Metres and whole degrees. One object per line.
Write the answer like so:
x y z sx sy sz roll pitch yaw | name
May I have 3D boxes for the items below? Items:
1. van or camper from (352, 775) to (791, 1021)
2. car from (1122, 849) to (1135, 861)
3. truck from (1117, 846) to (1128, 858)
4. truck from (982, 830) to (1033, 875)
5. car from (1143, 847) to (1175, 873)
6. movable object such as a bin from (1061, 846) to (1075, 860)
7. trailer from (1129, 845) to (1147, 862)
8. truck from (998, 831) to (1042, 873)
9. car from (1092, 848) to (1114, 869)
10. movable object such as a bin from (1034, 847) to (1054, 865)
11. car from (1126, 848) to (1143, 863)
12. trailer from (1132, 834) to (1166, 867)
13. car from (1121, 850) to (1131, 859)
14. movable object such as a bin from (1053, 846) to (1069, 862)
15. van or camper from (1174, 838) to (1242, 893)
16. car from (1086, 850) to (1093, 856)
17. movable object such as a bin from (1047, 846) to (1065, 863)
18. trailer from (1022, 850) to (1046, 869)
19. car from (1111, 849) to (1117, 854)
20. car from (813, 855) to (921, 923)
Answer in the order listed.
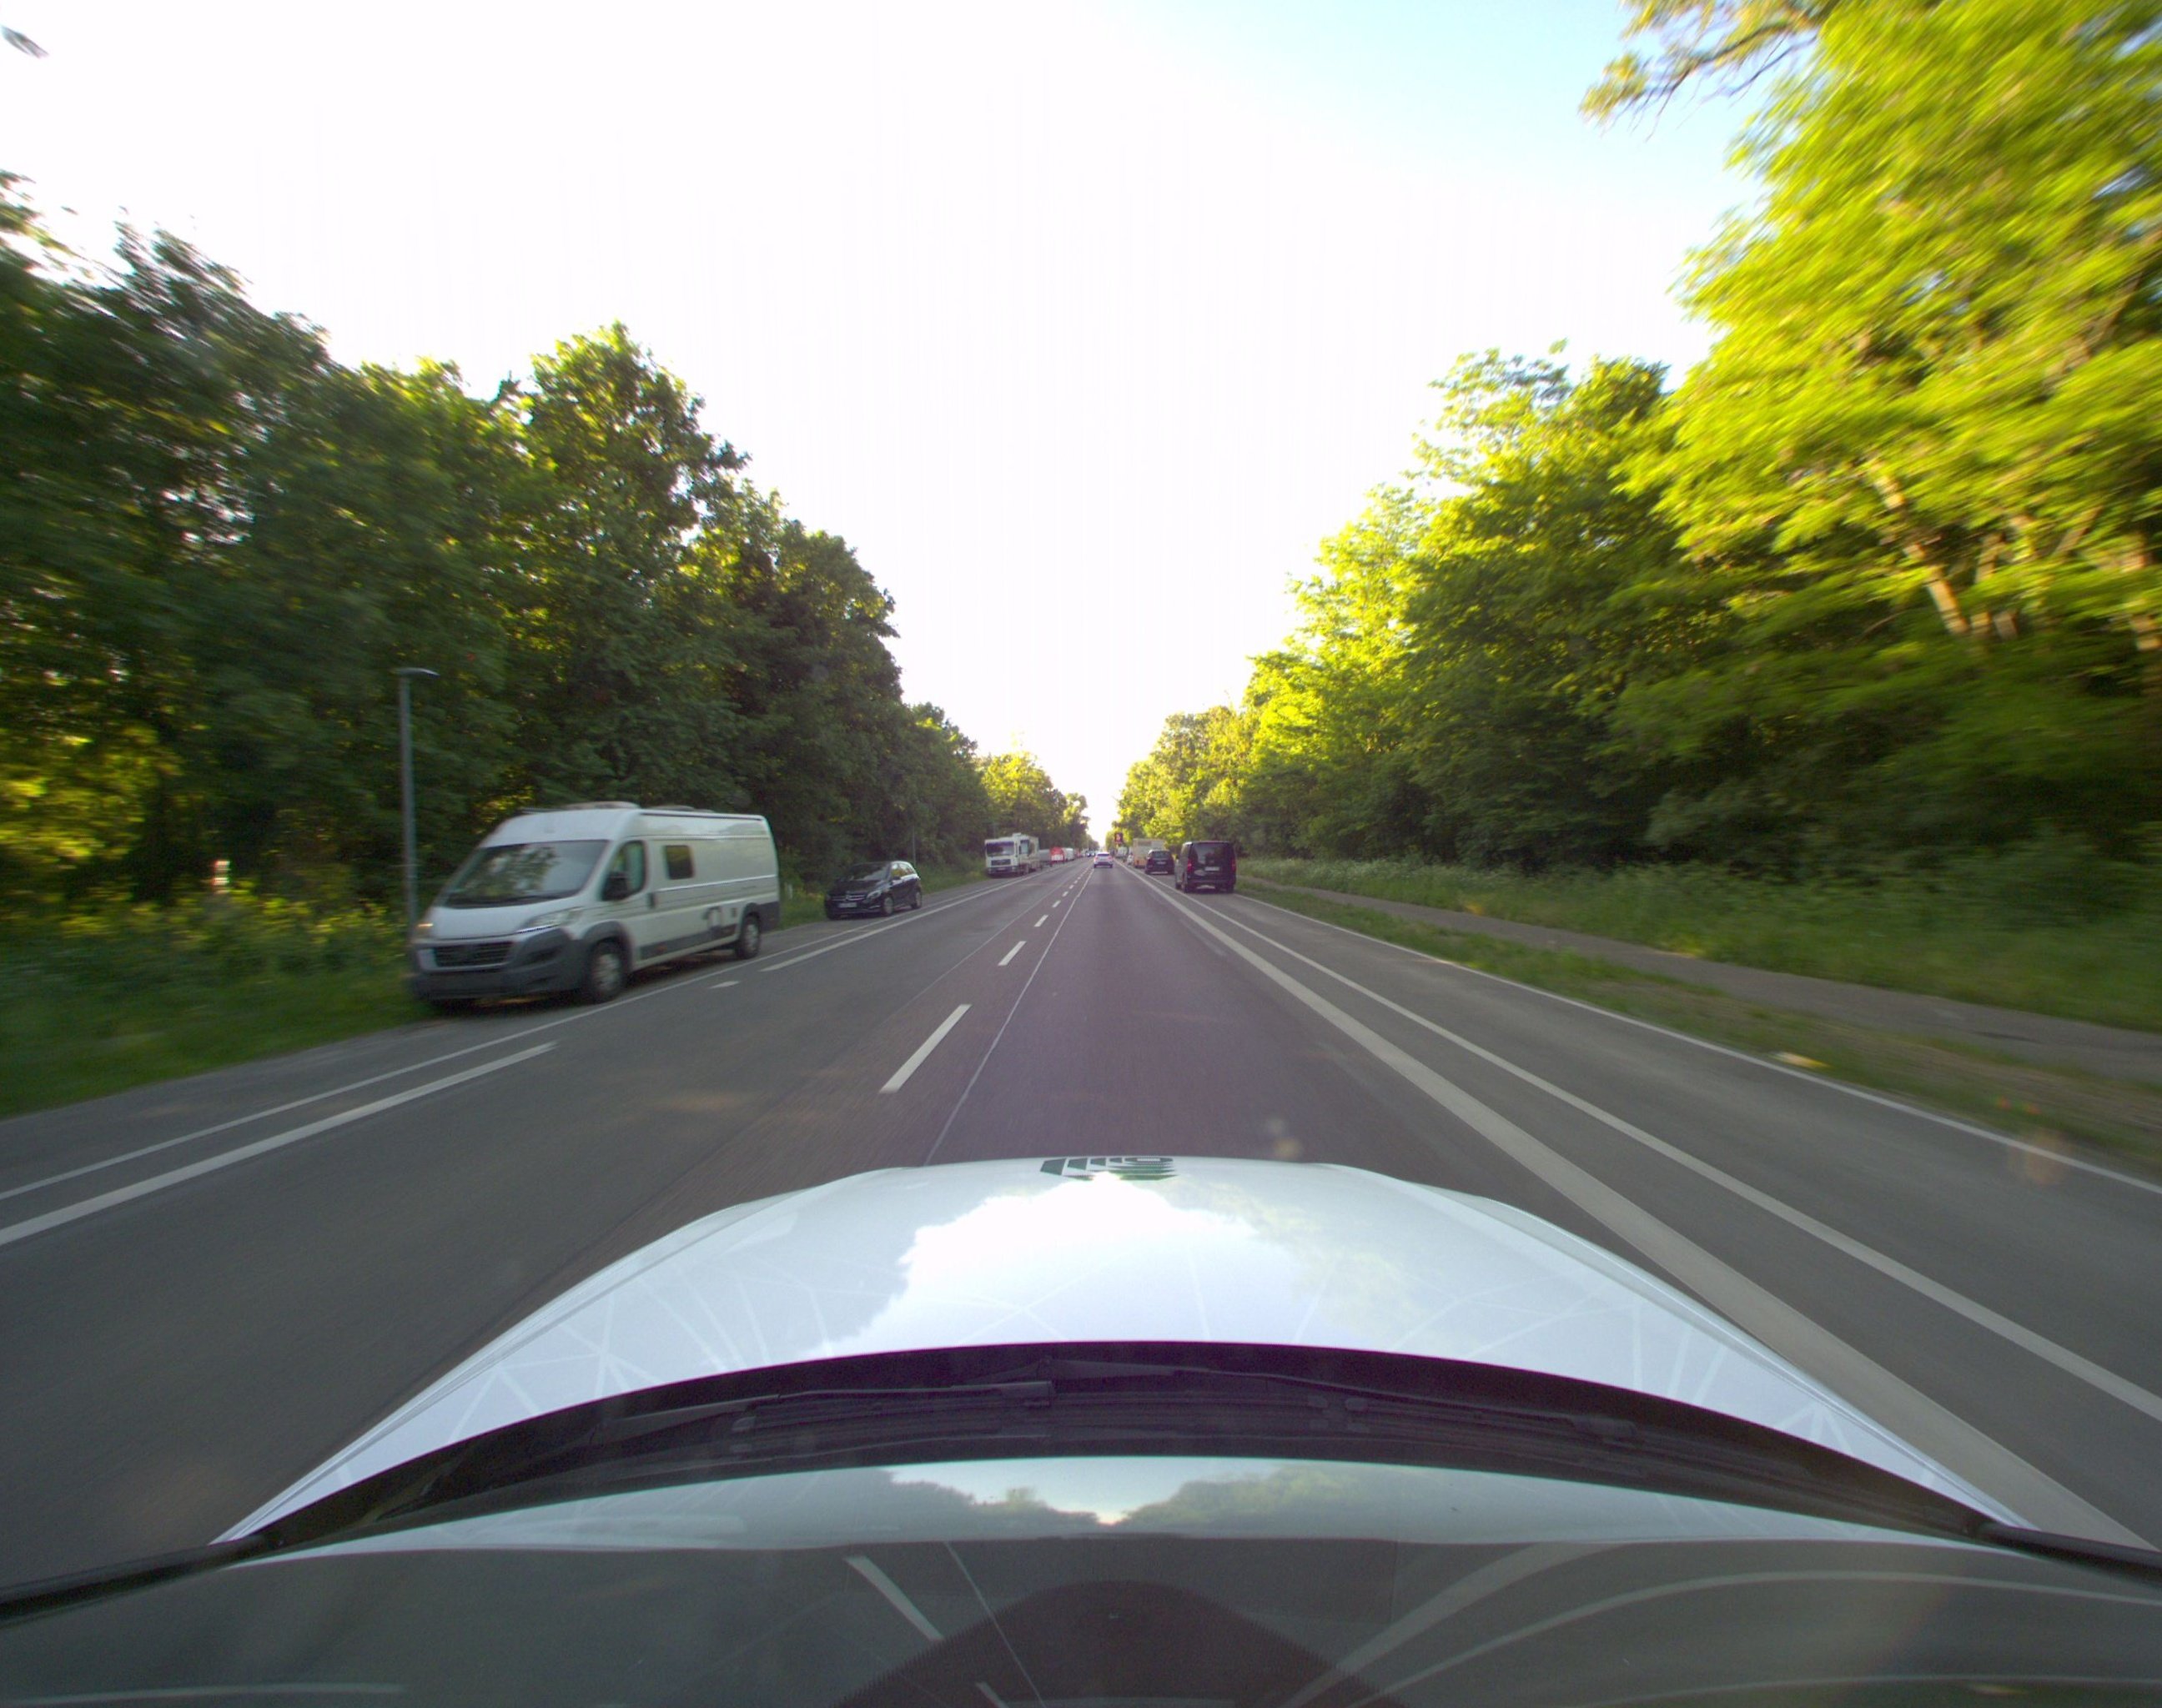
-6.672 0.457 12.061 2.113 2.572 6.545 -2 0 2 | van or camper
6.565 0.135 112.329 1.650 1.478 3.755 -2 0 2 | car
8.446 -0.470 167.218 2.089 2.452 5.682 -2 0 2 | truck
-5.375 -0.123 60.807 2.697 3.093 7.992 -1 0 2 | truck
5.151 0.381 54.280 1.834 1.662 4.002 -1 0 2 | car
-2.485 -0.172 156.720 2.313 2.501 4.001 -2 0 1 | movable object such as a bin
6.869 -0.057 99.096 1.986 1.969 4.002 -2 0 1 | trailer
-5.250 -0.214 71.973 2.697 3.347 10.928 -1 0 2 | truck
2.151 0.404 78.970 2.021 1.840 4.031 -2 0 2 | car
-4.316 0.232 95.578 1.946 2.013 4.002 -2 0 2 | movable object such as a bin
6.095 0.150 92.424 1.726 1.684 4.002 -2 0 2 | car
6.296 -0.343 76.411 2.747 2.870 6.591 -2 0 2 | trailer
7.871 0.147 143.443 1.650 1.478 3.755 -2 0 2 | car
-3.279 0.041 134.291 2.313 2.501 4.001 -2 0 1 | movable object such as a bin
4.817 0.399 31.641 1.986 1.932 5.201 0 0 2 | van or camper
2.528 -0.353 234.260 1.986 1.677 4.002 -3 0 2 | car
-3.662 0.061 119.779 2.313 2.501 4.001 -2 0 1 | movable object such as a bin
-4.722 0.547 82.155 1.986 1.750 4.329 -2 0 2 | trailer
8.862 -0.671 220.182 1.650 1.478 3.755 -2 0 2 | car
-6.141 0.936 23.930 1.774 1.684 4.380 -3 0 2 | car
